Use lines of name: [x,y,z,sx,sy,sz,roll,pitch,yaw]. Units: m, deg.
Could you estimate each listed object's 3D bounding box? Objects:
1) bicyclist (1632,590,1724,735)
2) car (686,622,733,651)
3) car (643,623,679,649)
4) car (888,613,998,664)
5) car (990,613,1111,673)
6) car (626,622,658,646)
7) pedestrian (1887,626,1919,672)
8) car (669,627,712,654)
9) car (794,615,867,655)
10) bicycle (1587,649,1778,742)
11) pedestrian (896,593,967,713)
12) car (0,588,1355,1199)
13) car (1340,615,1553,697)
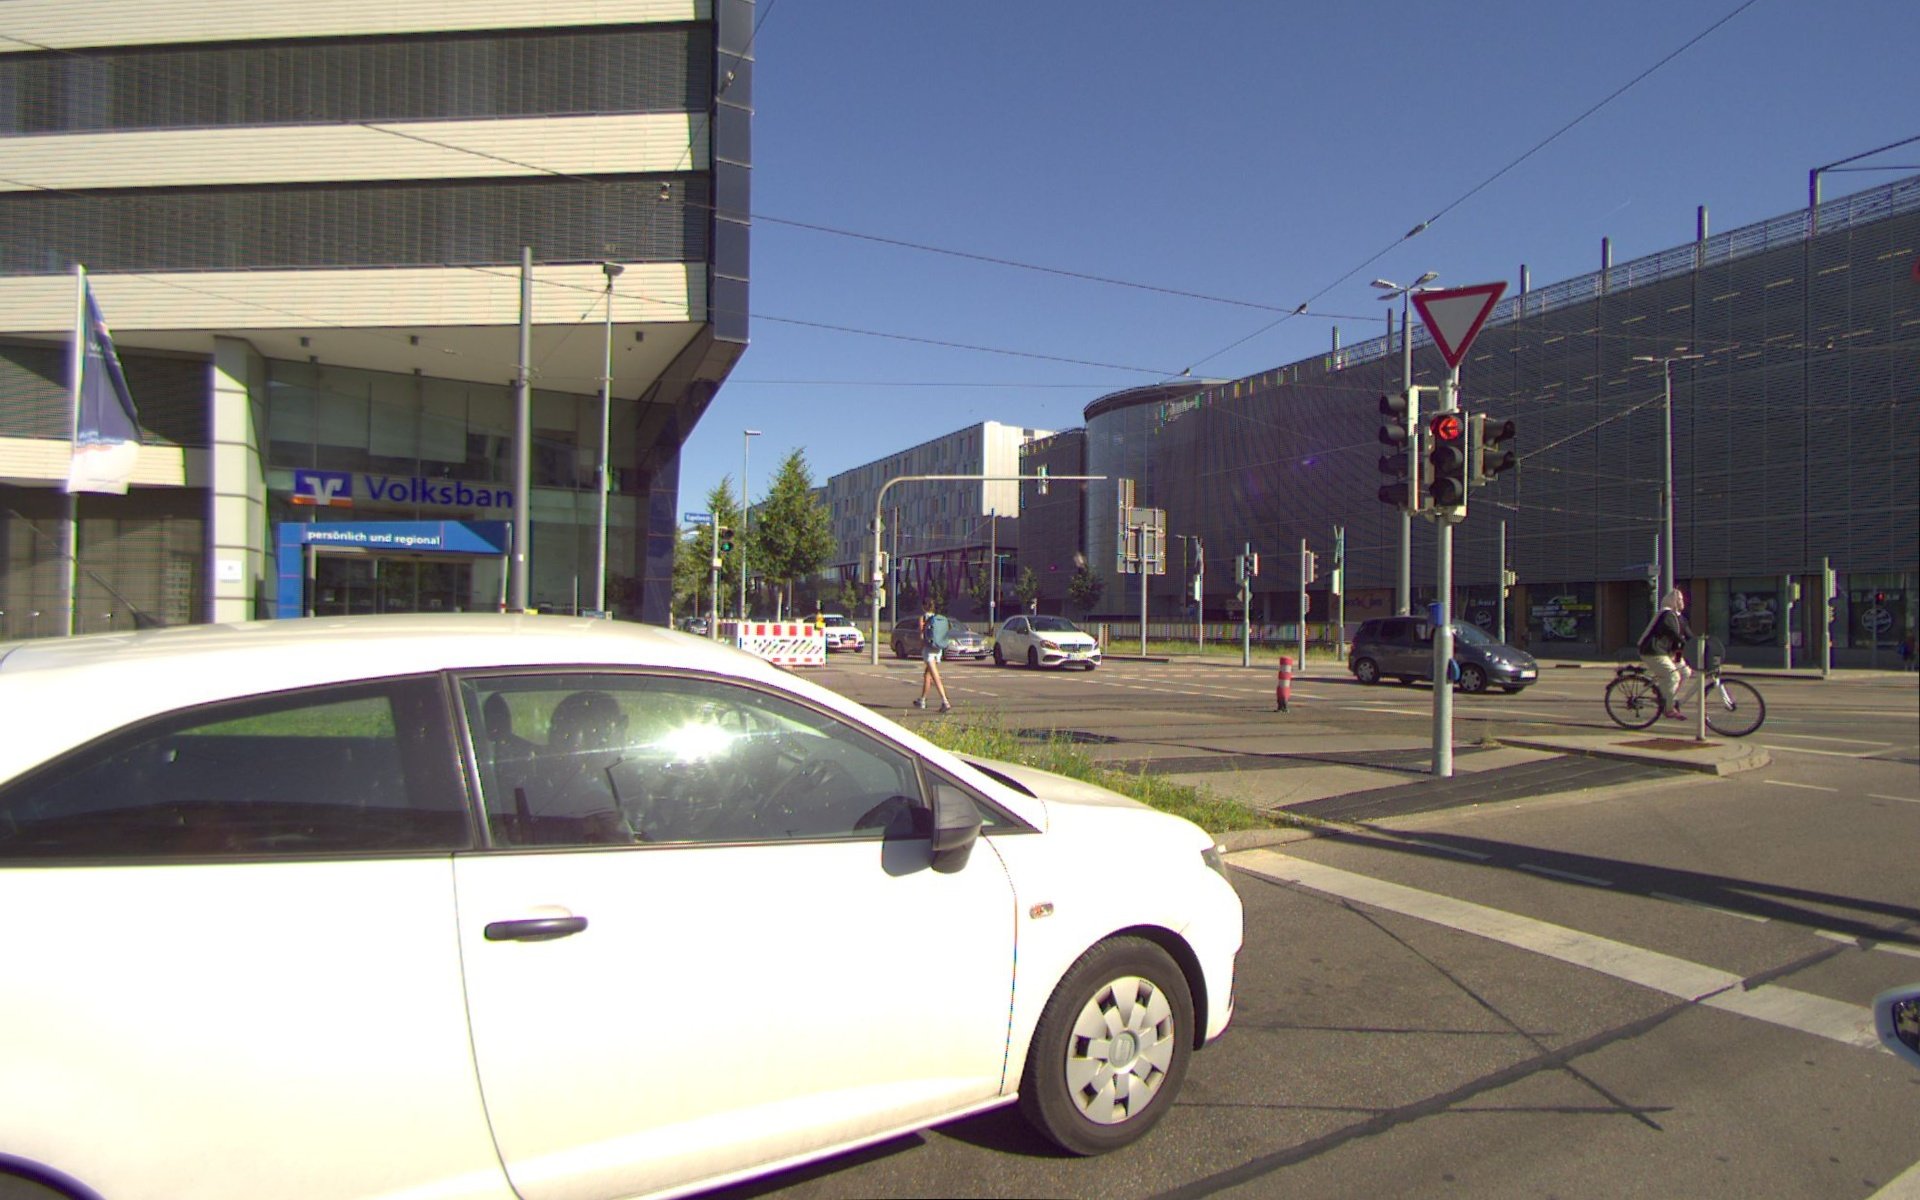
bicyclist: [9.329,0.791,13.061,0.755,1.812,0.758,1,-1,-33]
car: [-15.573,2.238,62.295,1.824,1.673,4.221,1,-1,-28]
car: [-22.462,2.717,75.447,1.974,1.873,3.974,1,-1,-26]
car: [-0.650,1.279,34.415,1.976,1.637,4.256,1,-1,-30]
car: [2.333,1.131,27.082,1.882,1.483,4.076,1,-1,-17]
car: [-26.415,2.773,83.383,1.919,1.903,3.910,1,-1,-26]
pedestrian: [40.138,2.067,42.633,0.804,1.893,0.906,1,-1,13]
car: [-17.853,2.667,66.387,1.824,1.673,4.221,1,-1,-28]
car: [-5.735,1.492,44.120,1.824,1.673,4.221,1,-1,-28]
bicycle: [9.314,1.189,13.030,0.687,1.050,1.915,1,-1,-32]
pedestrian: [-0.434,0.774,14.975,0.704,1.730,0.881,1,-1,-30]
car: [-0.857,0.758,2.769,3.738,1.442,1.624,2,1,-30]
car: [10.249,1.131,21.399,1.802,1.545,3.733,2,-1,-31]
